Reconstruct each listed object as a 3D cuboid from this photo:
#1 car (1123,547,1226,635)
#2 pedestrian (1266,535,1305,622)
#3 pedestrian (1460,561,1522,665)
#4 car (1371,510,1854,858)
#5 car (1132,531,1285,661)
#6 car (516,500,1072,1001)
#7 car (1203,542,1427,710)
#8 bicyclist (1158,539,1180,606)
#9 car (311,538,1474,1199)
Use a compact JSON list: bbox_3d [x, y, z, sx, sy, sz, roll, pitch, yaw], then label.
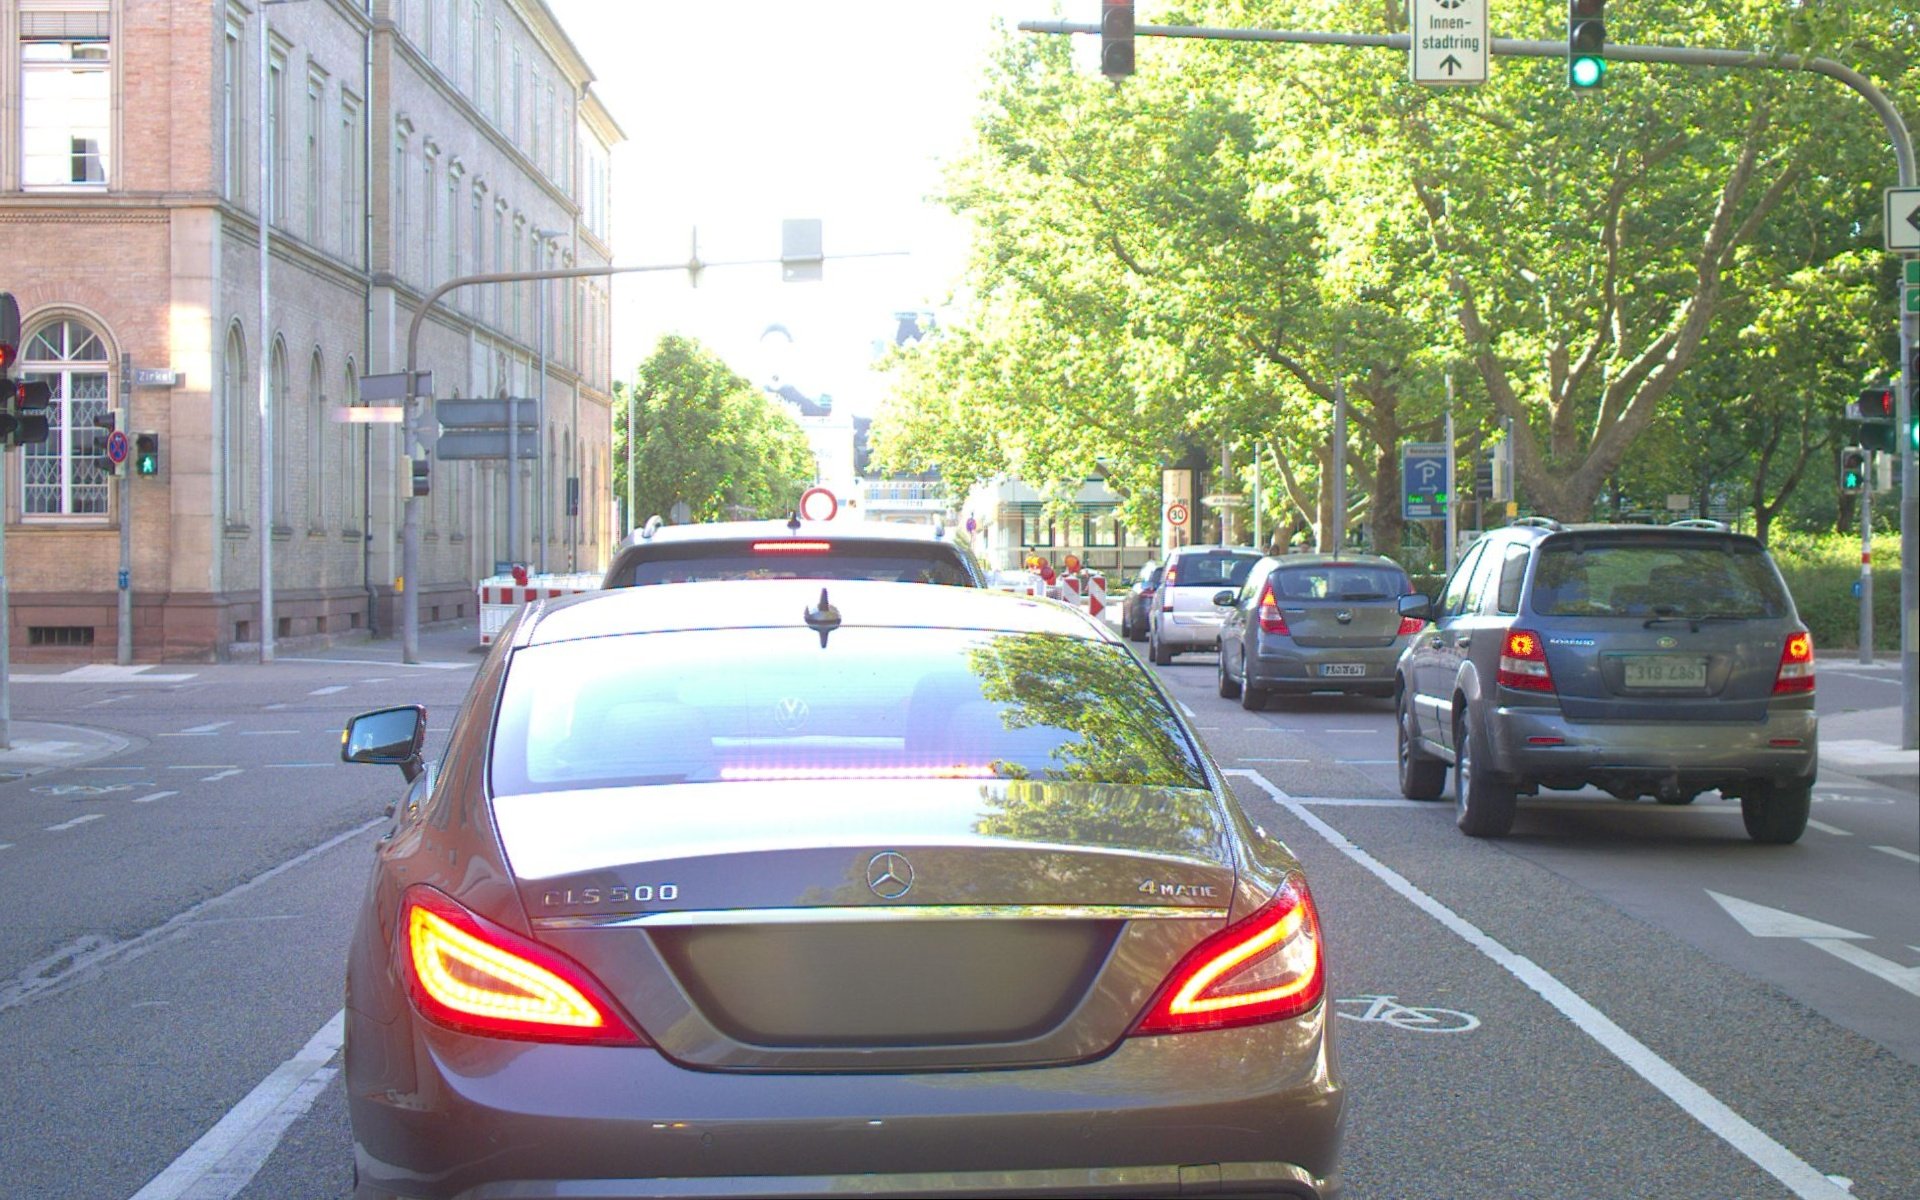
[{"bbox_3d":[3.897,-0.180,62.967,1.601,1.543,3.681,1,1,-1],"label":"car"},{"bbox_3d":[6.563,-0.433,69.357,0.635,1.754,0.699,1,0,-4],"label":"pedestrian"},{"bbox_3d":[7.995,0.194,51.754,0.635,1.540,0.910,1,0,-11],"label":"pedestrian"},{"bbox_3d":[3.596,0.391,19.776,1.861,1.758,4.482,0,1,-1],"label":"car"},{"bbox_3d":[3.319,-0.068,46.450,1.731,1.656,3.681,1,1,-1],"label":"car"},{"bbox_3d":[-0.584,0.476,13.605,1.861,1.677,4.000,0,1,-1],"label":"car"},{"bbox_3d":[3.381,0.202,33.360,1.704,1.514,4.000,0,1,-1],"label":"car"},{"bbox_3d":[6.381,-0.834,104.973,0.594,2.032,0.566,1,0,-4],"label":"bicyclist"},{"bbox_3d":[-0.364,0.630,7.475,1.861,1.514,4.001,0,1,-8],"label":"car"}]
